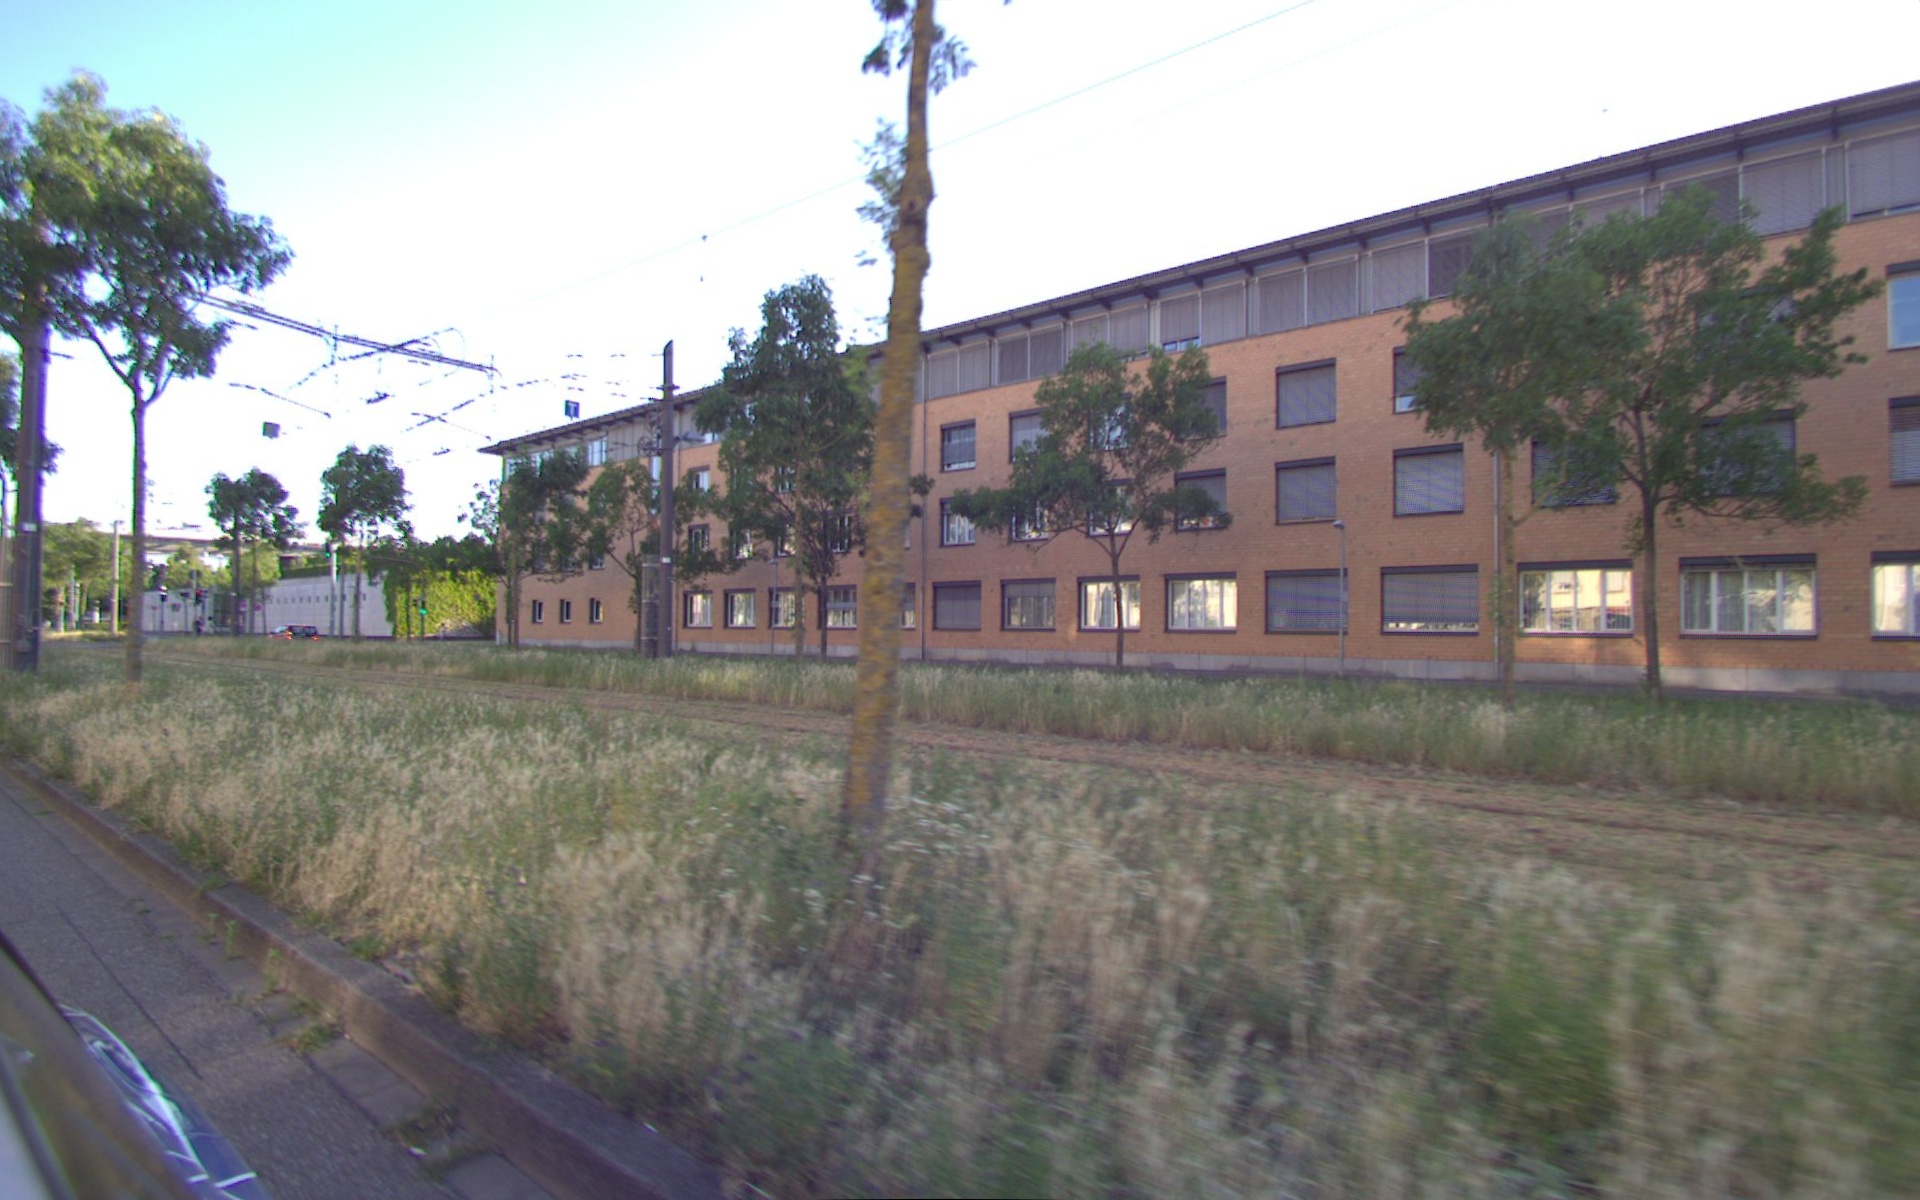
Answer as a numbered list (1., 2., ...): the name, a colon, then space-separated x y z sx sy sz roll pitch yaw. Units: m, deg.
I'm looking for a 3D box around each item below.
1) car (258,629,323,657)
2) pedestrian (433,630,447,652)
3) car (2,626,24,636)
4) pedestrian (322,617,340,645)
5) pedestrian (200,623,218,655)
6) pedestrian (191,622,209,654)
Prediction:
1. car: -34.501 2.170 52.112 3.997 1.386 1.772 -1 -2 41
2. pedestrian: -31.746 2.501 61.776 0.574 1.378 0.581 -1 -2 35
3. car: -132.862 4.301 141.969 3.997 1.386 1.772 -1 -2 41
4. pedestrian: -46.681 2.293 75.097 0.862 2.029 0.725 -1 0 21
5. pedestrian: -39.987 2.060 53.867 0.544 1.697 0.512 0 -2 11
6. pedestrian: -40.902 2.049 54.481 0.544 1.697 0.512 -1 -2 11
